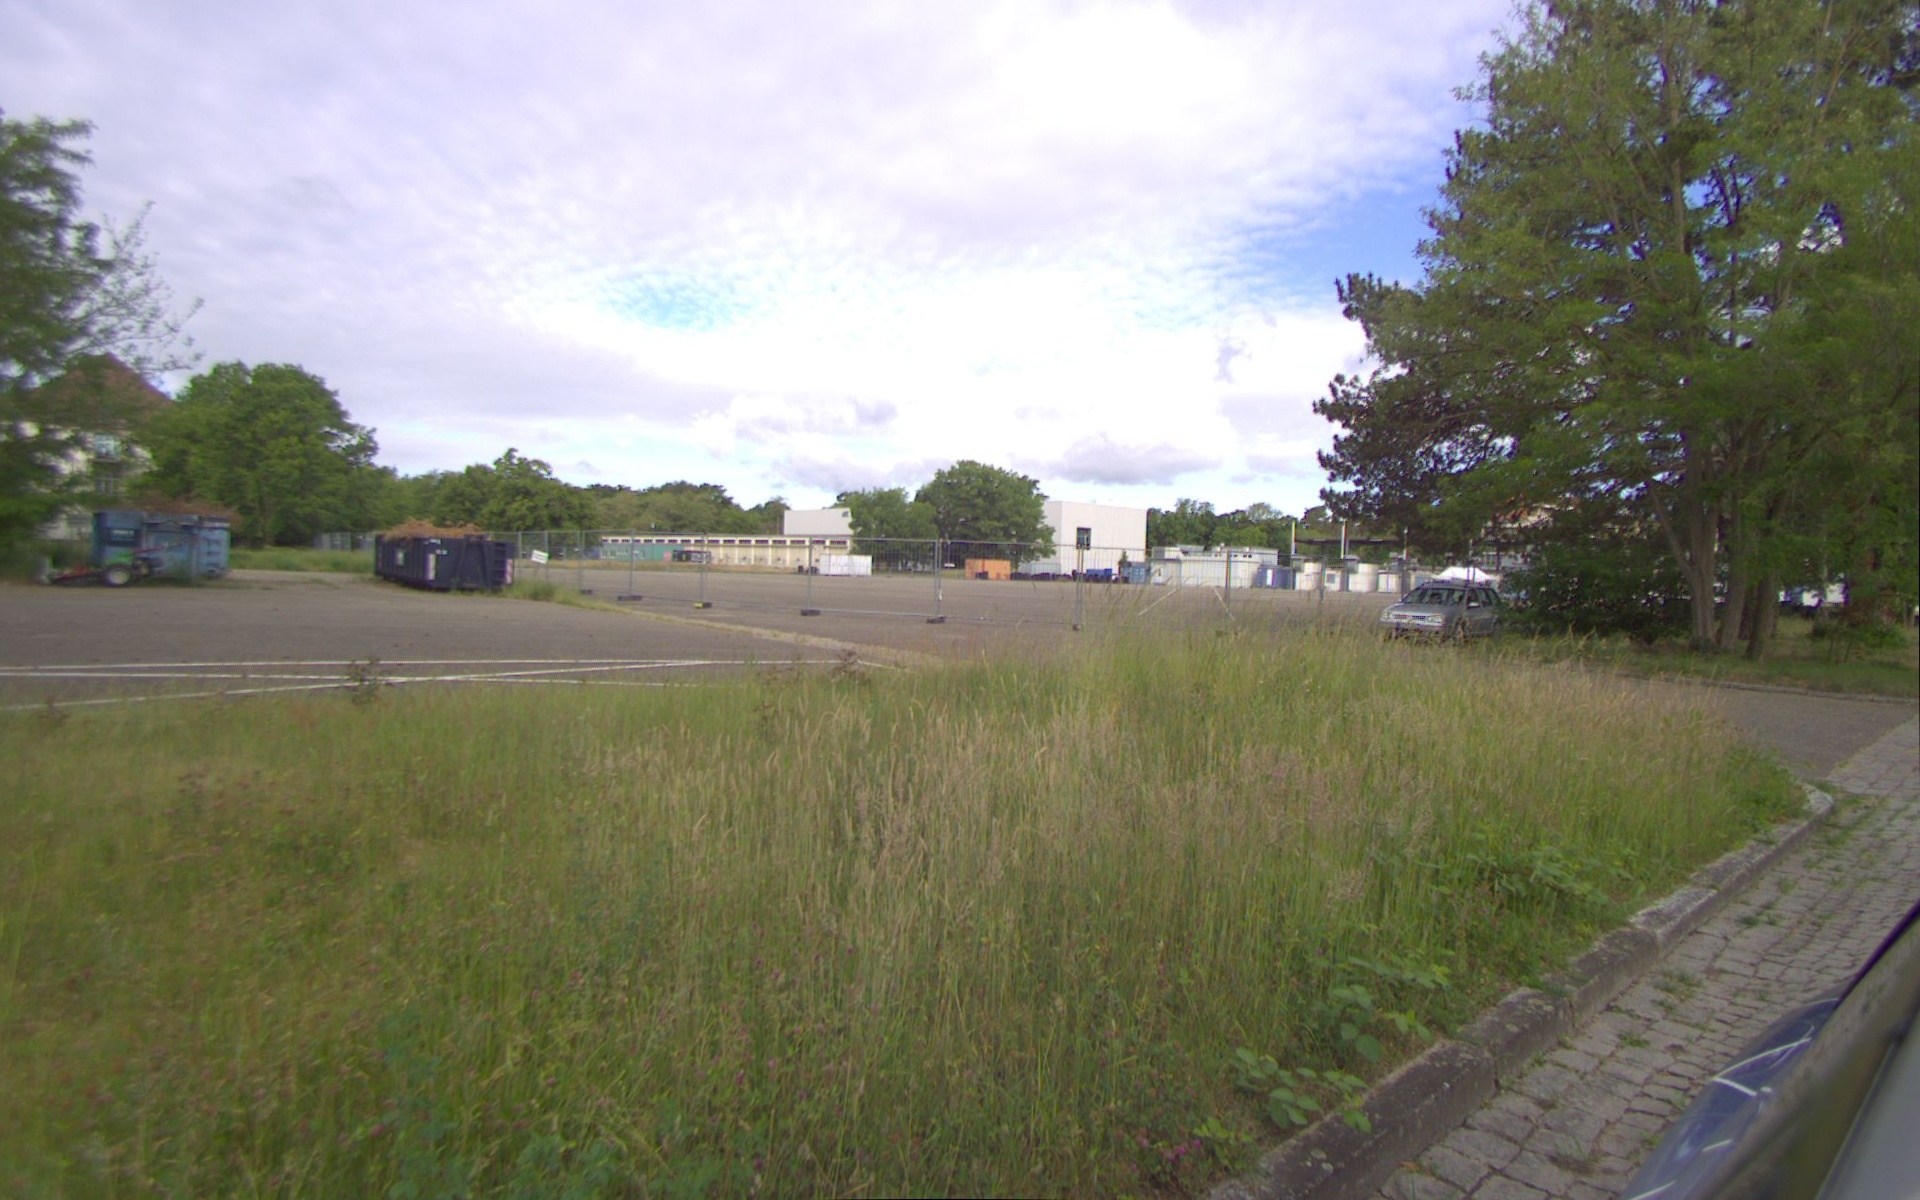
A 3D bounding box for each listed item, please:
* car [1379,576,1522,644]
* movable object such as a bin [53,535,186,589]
[{"bbox_3d":[11.926,0.208,24.473,4.415,1.468,1.676,0,2,-44],"label":"car"},{"bbox_3d":[-18.925,-0.835,22.816,0.958,1.148,2.181,1,1,40],"label":"movable object such as a bin"}]
